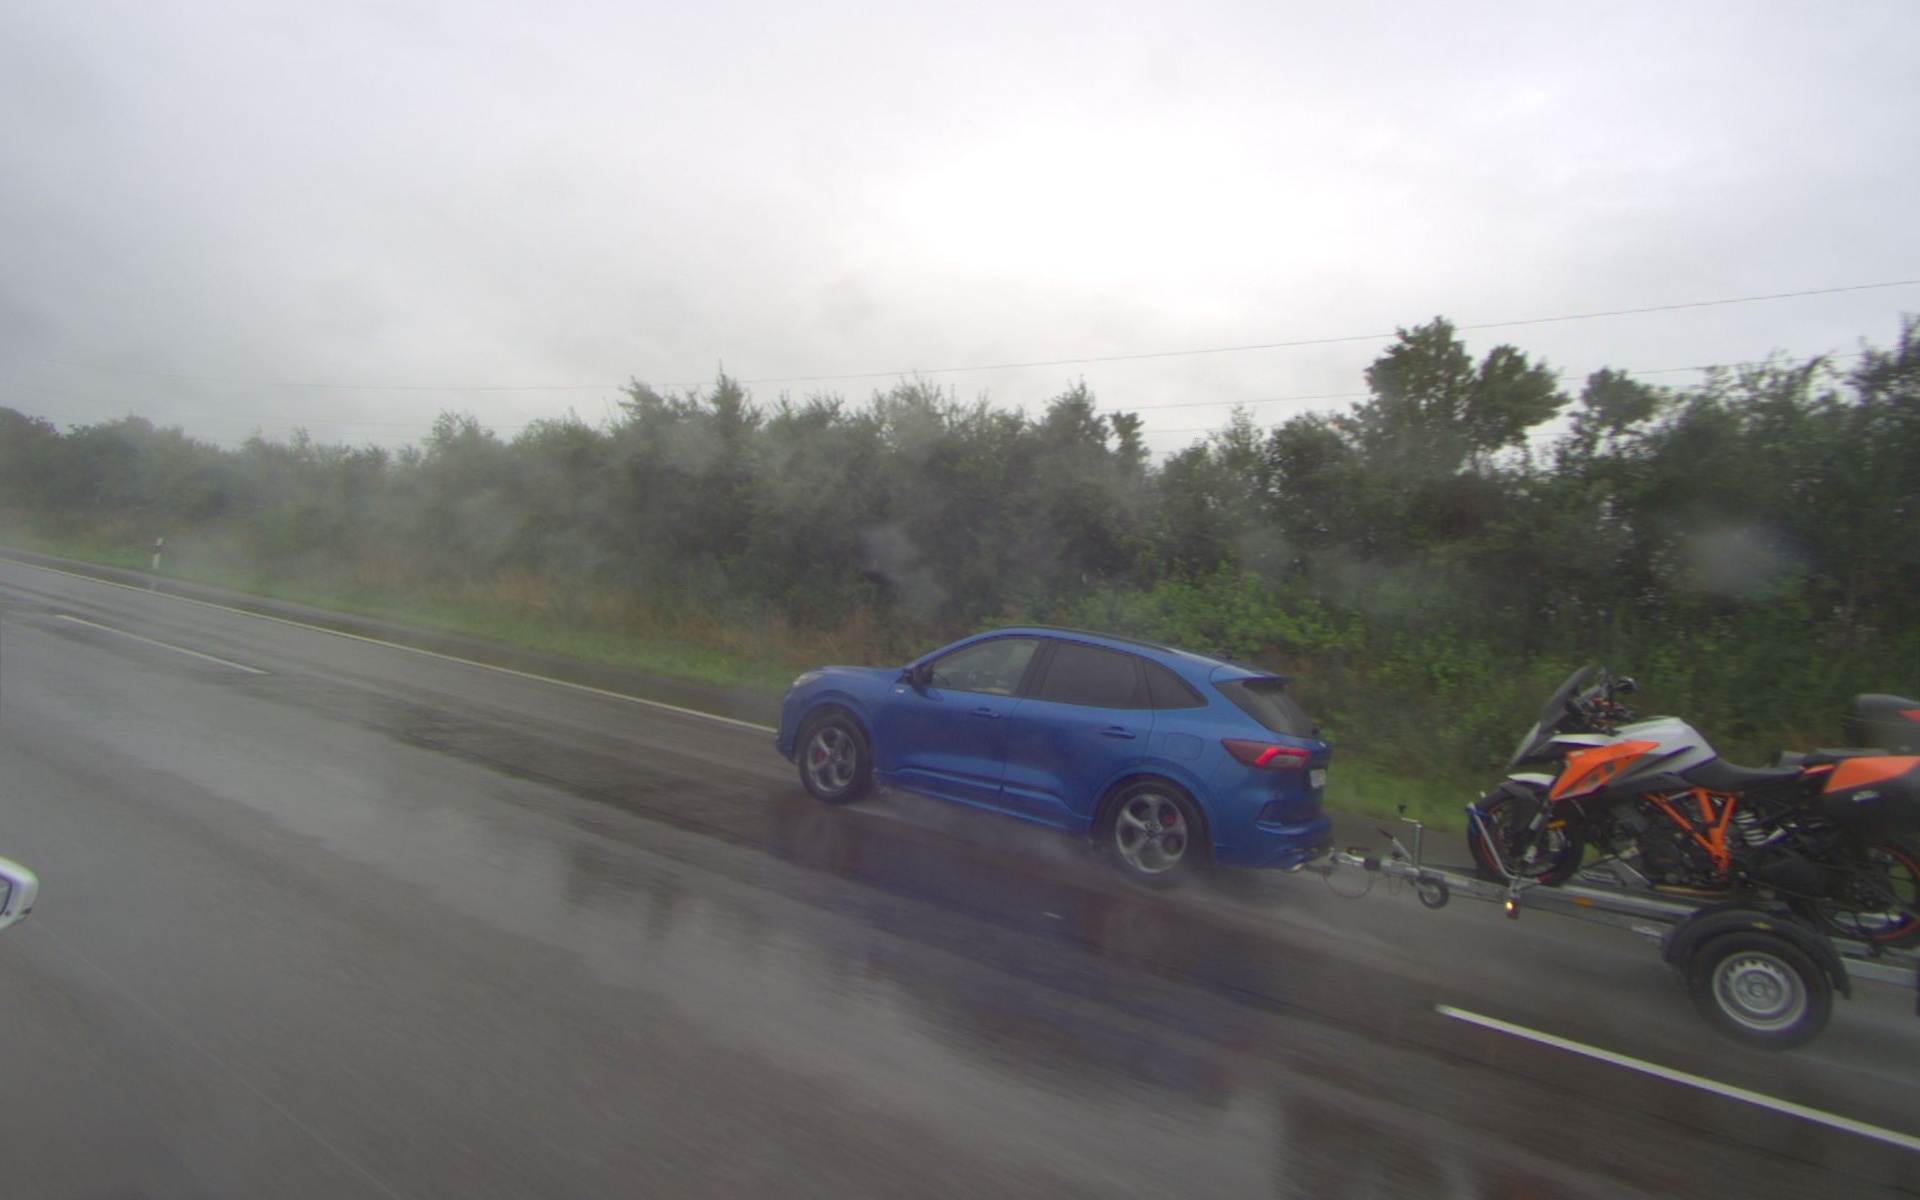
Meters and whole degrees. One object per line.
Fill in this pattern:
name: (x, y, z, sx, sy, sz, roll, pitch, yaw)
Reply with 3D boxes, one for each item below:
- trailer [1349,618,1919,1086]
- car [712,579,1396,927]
trailer: (4.124, 1.235, 5.645, 3.137, 1.806, 1.982, 6, -2, 33)
car: (0.576, 0.952, 7.987, 4.912, 1.638, 1.996, 6, -2, 33)
